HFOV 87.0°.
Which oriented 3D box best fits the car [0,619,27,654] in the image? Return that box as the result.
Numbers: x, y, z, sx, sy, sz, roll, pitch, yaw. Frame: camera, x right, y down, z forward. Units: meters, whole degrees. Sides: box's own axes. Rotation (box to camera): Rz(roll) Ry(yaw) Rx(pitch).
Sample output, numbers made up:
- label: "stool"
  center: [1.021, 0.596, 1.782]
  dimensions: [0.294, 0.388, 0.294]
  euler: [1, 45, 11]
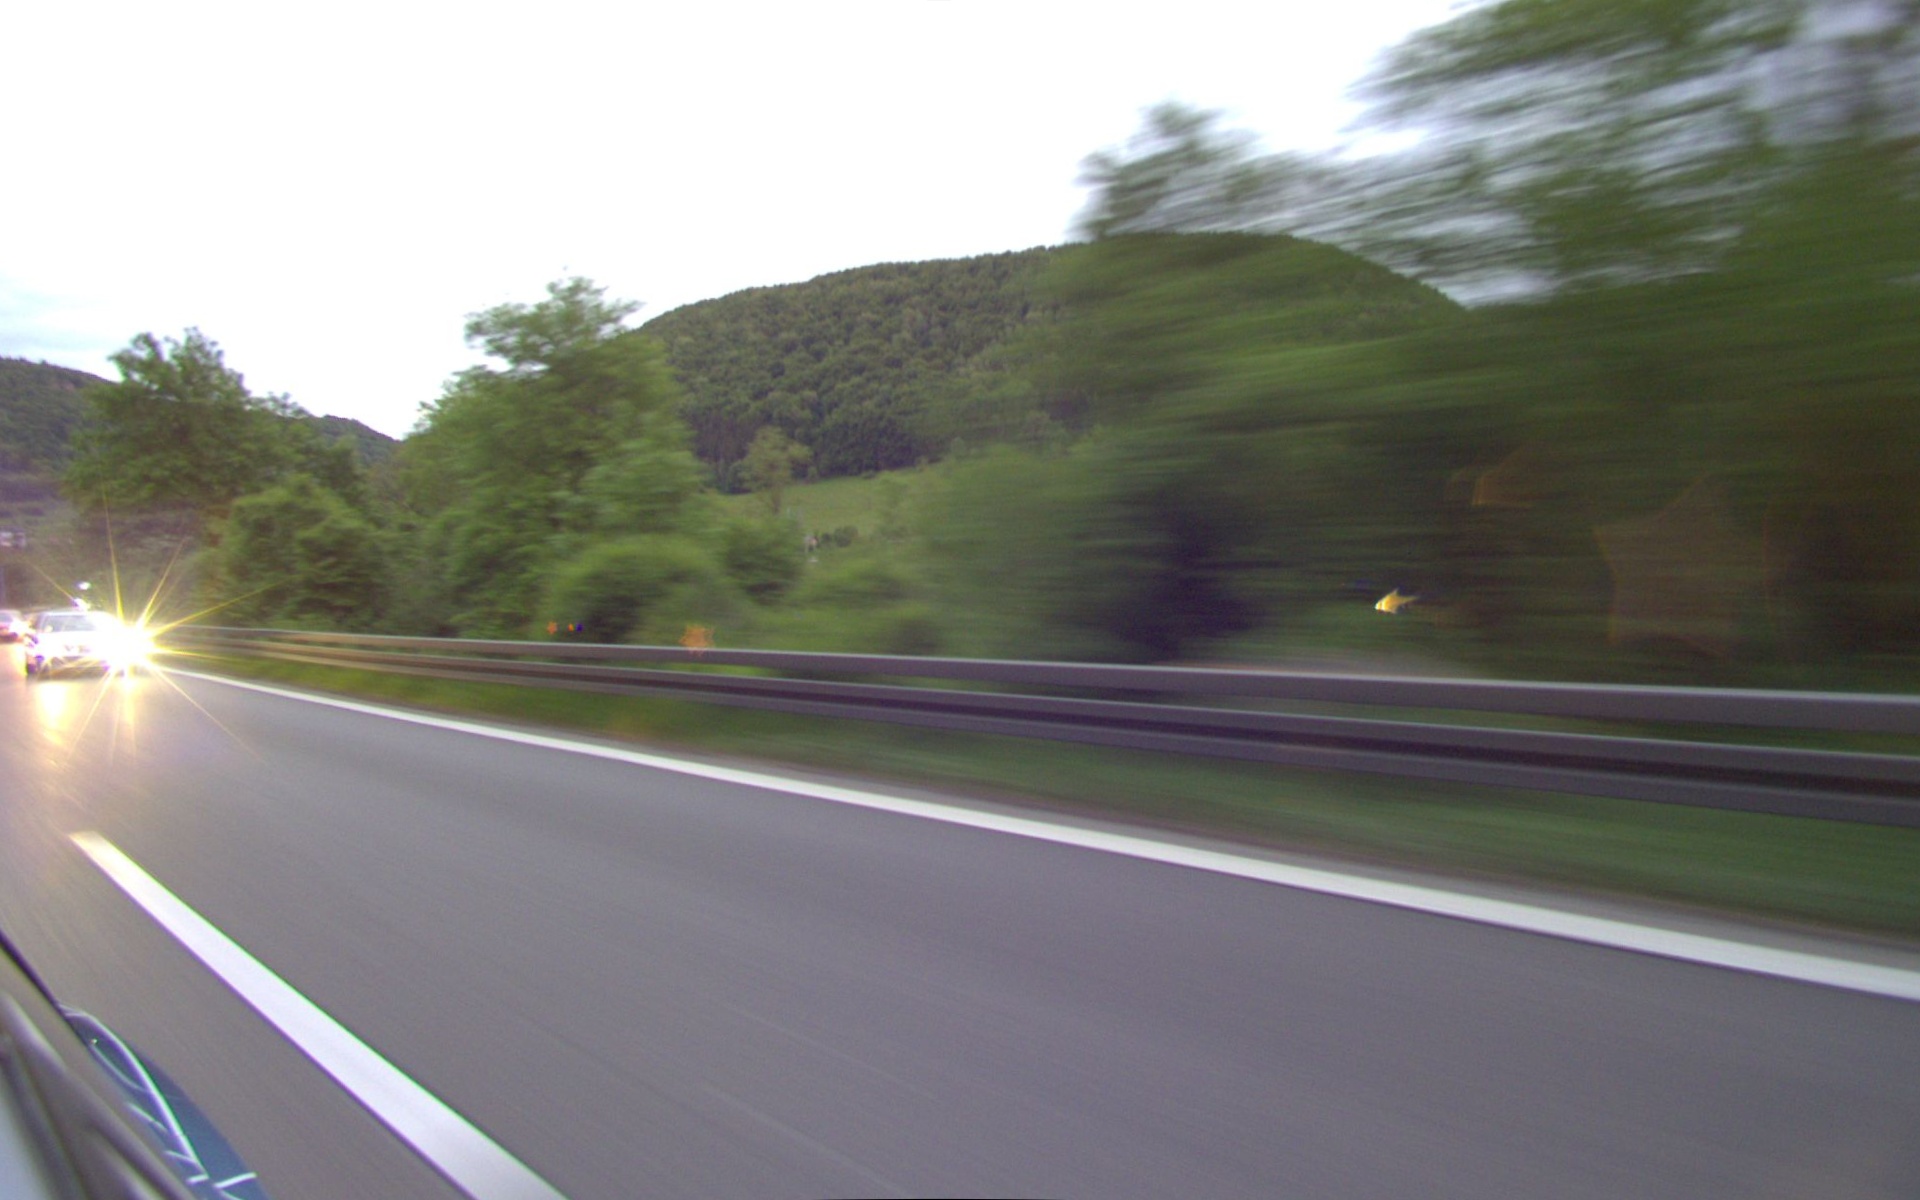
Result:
- label: "car"
  center: [-42.779, 1.610, 44.986]
  dimensions: [3.670, 1.444, 1.667]
  euler: [-1, 2, 44]

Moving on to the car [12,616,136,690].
- label: "car"
  center: [-20.313, 1.141, 23.158]
  dimensions: [3.766, 1.479, 1.668]
  euler: [-1, 1, 42]
